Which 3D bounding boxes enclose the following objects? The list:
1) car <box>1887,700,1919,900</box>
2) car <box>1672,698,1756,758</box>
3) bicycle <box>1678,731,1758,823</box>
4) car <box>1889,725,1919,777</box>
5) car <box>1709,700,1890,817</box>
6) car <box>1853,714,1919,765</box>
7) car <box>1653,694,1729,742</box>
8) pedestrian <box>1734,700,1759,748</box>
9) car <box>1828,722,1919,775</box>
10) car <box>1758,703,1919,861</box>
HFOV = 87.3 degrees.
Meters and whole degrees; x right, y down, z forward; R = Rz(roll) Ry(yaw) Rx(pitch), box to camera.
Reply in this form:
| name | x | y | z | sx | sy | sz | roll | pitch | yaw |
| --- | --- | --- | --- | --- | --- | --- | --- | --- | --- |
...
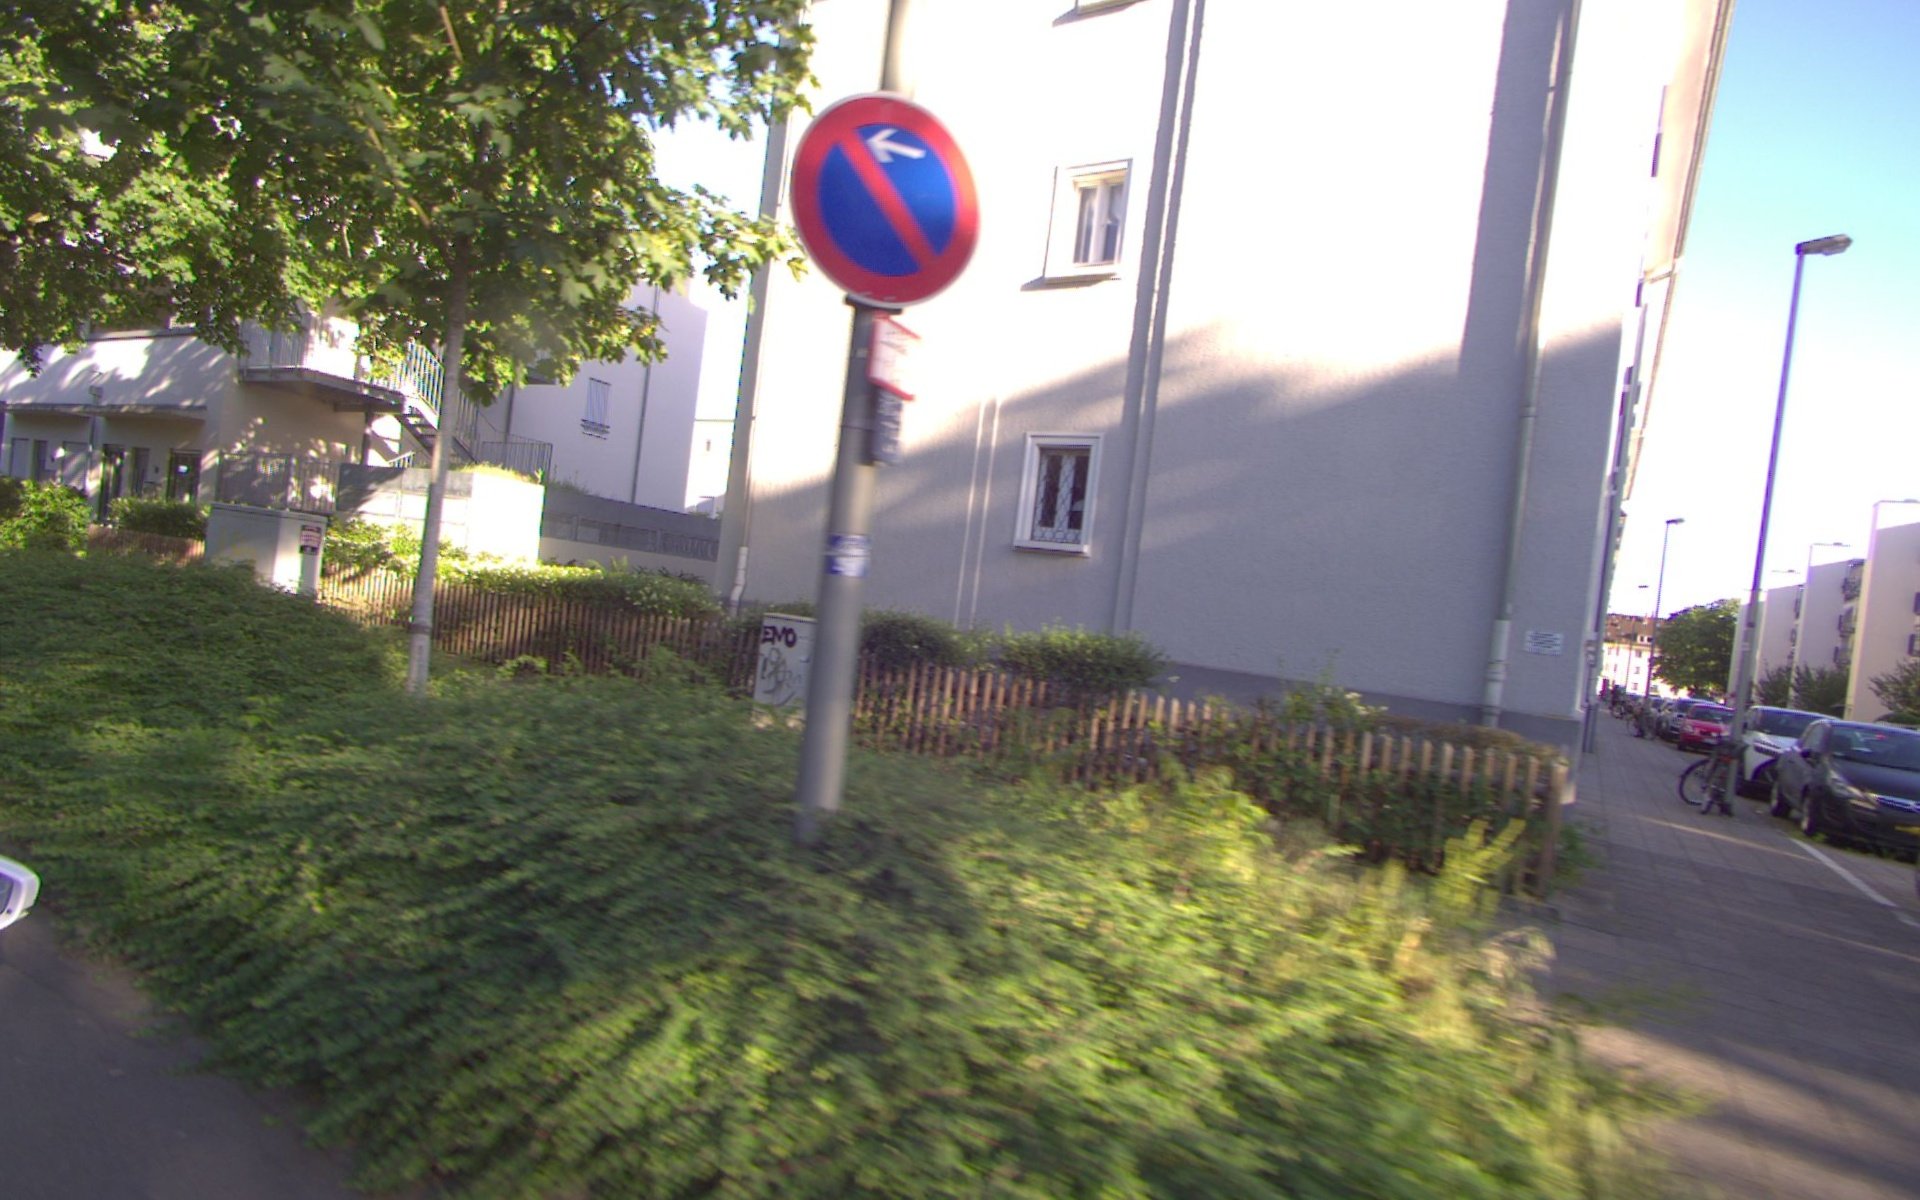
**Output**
| name | x | y | z | sx | sy | sz | roll | pitch | yaw |
| --- | --- | --- | --- | --- | --- | --- | --- | --- | --- |
| car | 7.993 | 1.645 | 6.597 | 1.779 | 1.601 | 3.993 | 8 | 1 | 30 |
| car | 22.728 | 3.833 | 30.443 | 1.677 | 1.421 | 3.991 | 7 | -1 | 34 |
| bicycle | 9.515 | 2.188 | 12.677 | 0.475 | 0.937 | 1.966 | 8 | 0 | 31 |
| car | 35.829 | 5.665 | 36.707 | 1.867 | 1.687 | 3.770 | 9 | 1 | 31 |
| car | 14.287 | 2.621 | 17.354 | 1.705 | 1.515 | 4.020 | 7 | -1 | 32 |
| car | 38.672 | 5.771 | 41.467 | 1.867 | 1.687 | 3.770 | 9 | 1 | 31 |
| car | 26.453 | 4.241 | 36.533 | 1.684 | 1.368 | 4.016 | 8 | -1 | 31 |
| pedestrian | 34.708 | 5.459 | 44.379 | 0.545 | 2.038 | 0.808 | 8 | 1 | 31 |
| car | 31.510 | 5.076 | 34.739 | 1.721 | 1.408 | 3.495 | 8 | -1 | 33 |
| car | 11.357 | 2.199 | 12.500 | 1.621 | 1.516 | 3.829 | 10 | 1 | 32 |
